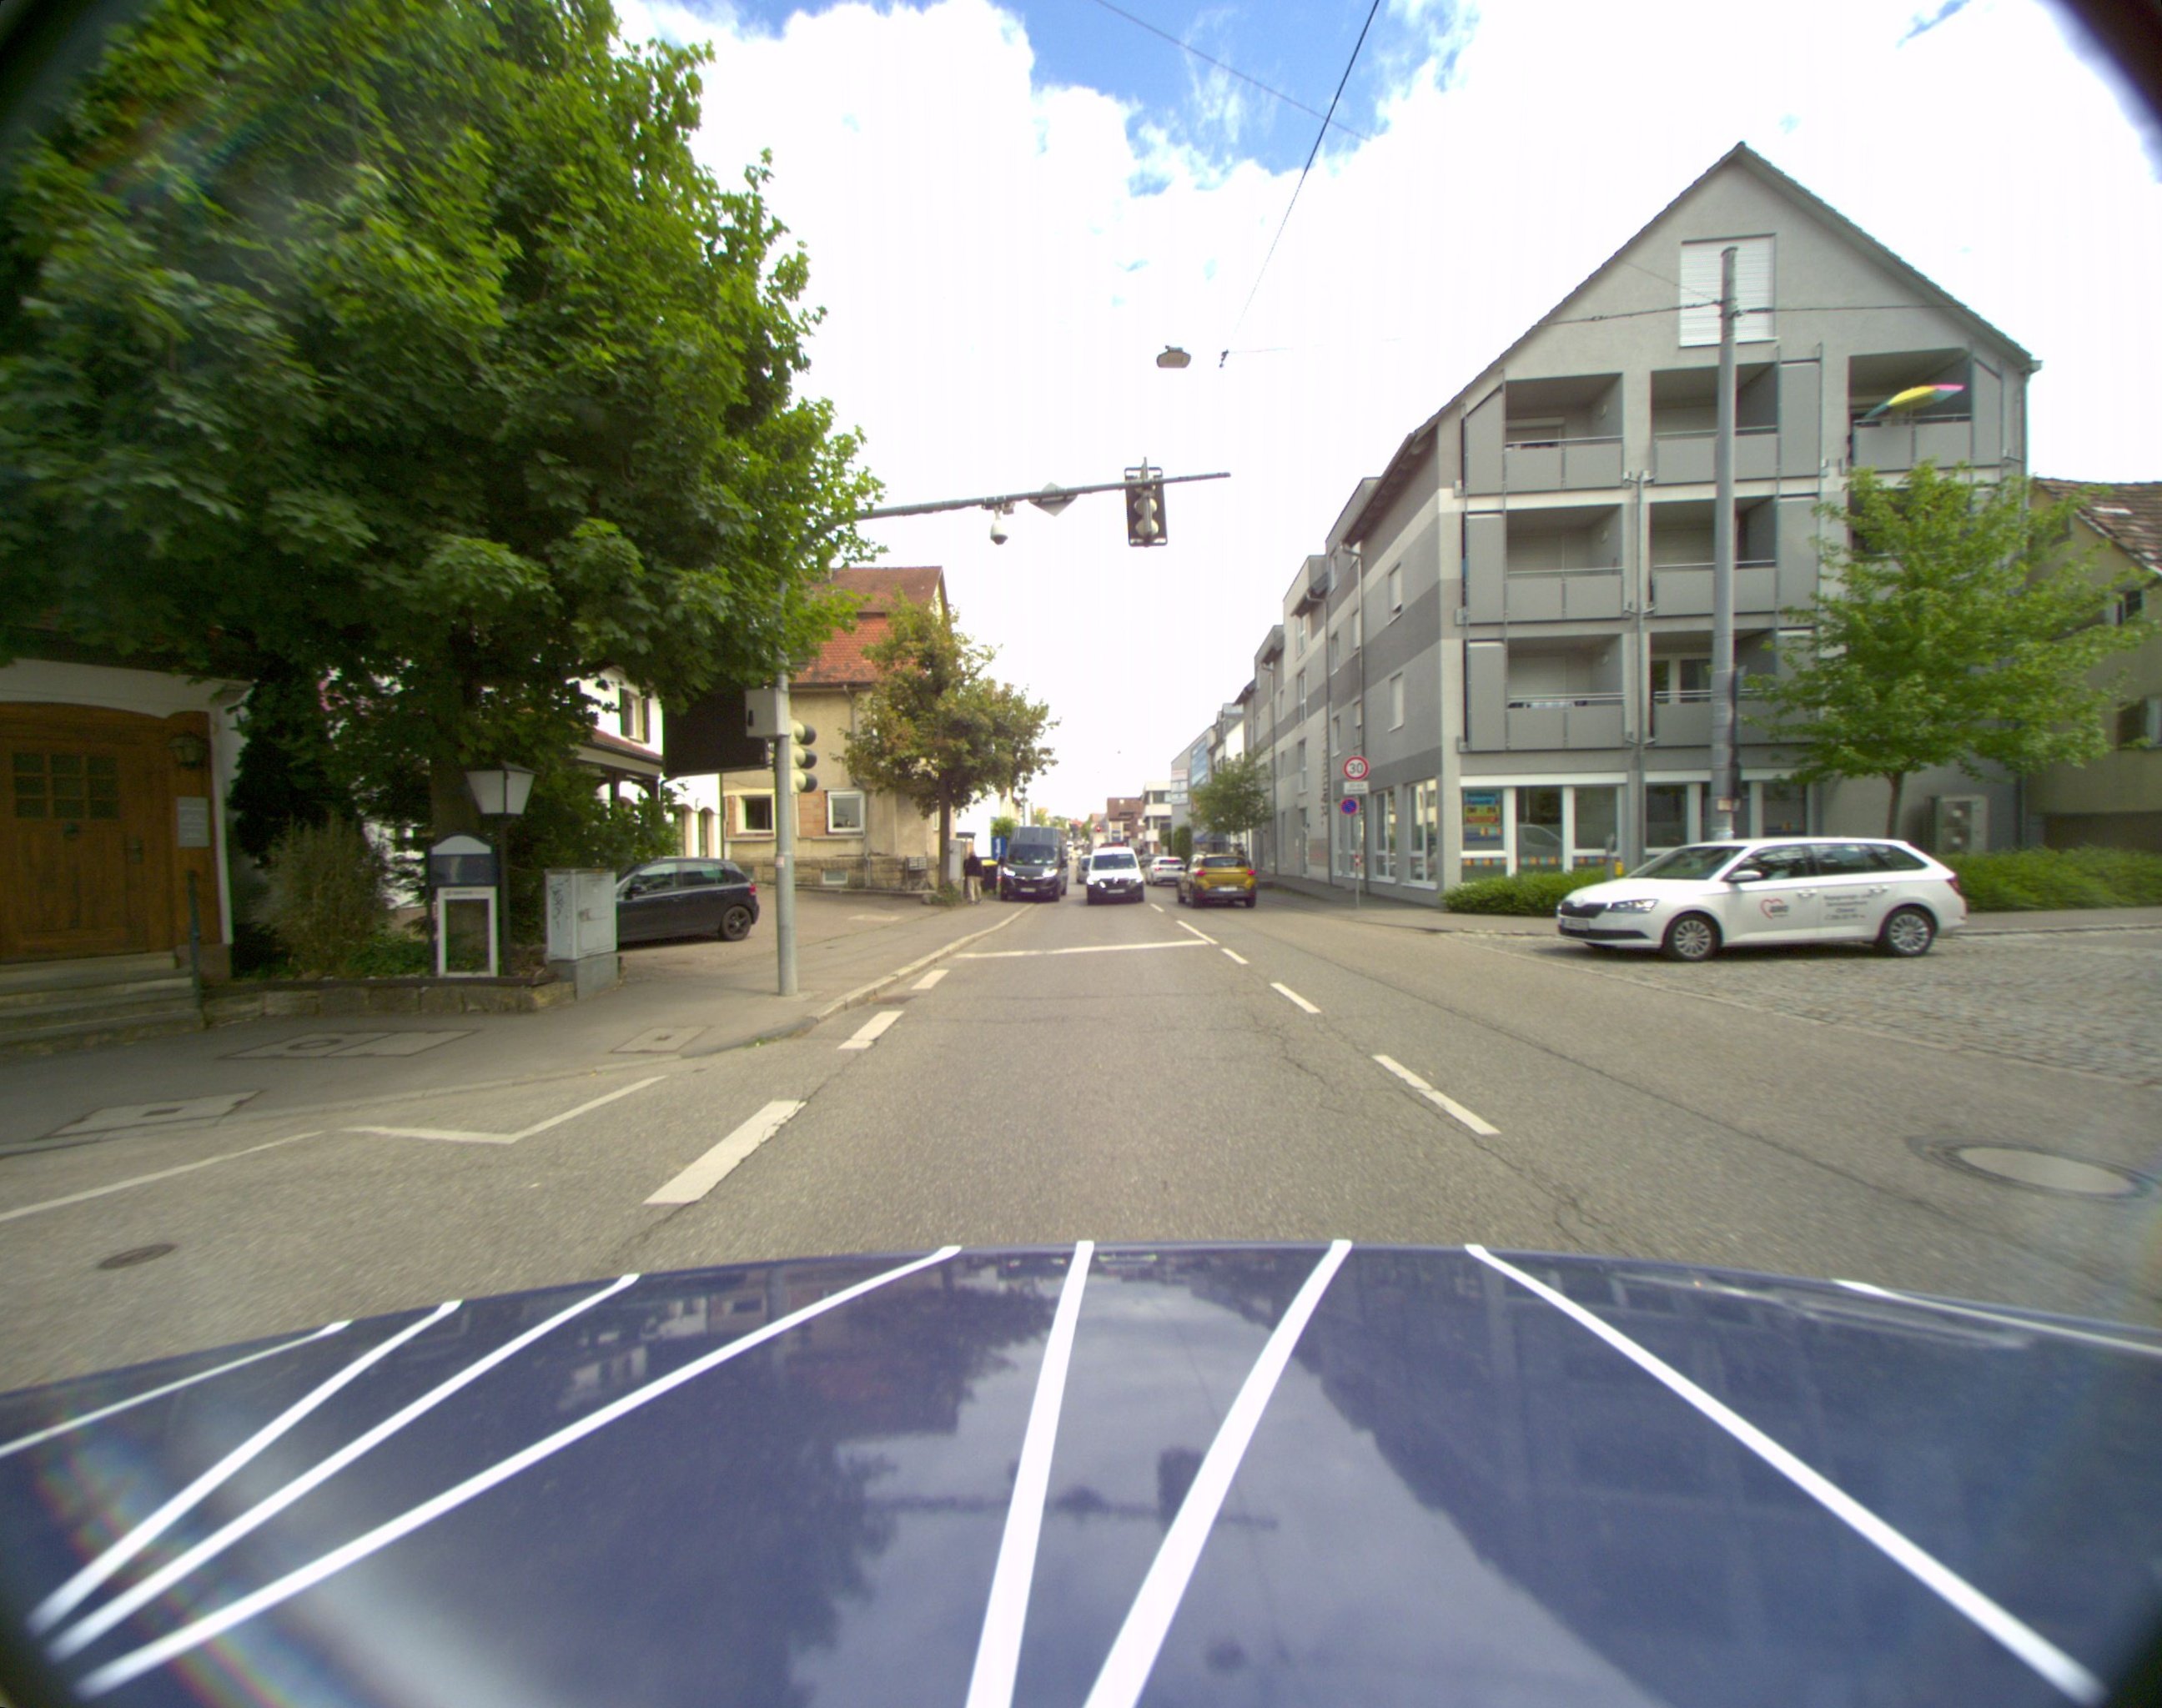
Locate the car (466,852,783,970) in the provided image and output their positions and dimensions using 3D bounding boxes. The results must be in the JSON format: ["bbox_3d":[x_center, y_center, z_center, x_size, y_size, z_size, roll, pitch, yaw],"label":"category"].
[{"bbox_3d":[-7.131,0.783,12.367,1.752,1.508,4.087,3,1,26],"label":"car"}]

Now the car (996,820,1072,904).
[{"bbox_3d":[-1.609,0.244,28.632,2.153,2.754,6.250,-1,0,2],"label":"car"}]

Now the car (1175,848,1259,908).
[{"bbox_3d":[3.863,0.645,22.202,1.732,1.529,4.000,-2,0,0],"label":"car"}]

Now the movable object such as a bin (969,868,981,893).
[{"bbox_3d":[-4.084,1.016,29.339,0.410,0.933,0.273,2,1,-10],"label":"movable object such as a bin"}]

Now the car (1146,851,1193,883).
[{"bbox_3d":[4.346,0.599,37.716,1.879,1.416,4.115,-2,0,1],"label":"car"}]

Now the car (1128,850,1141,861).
[{"bbox_3d":[8.063,0.223,115.414,1.840,1.418,4.219,-2,1,3],"label":"car"}]

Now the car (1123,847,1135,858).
[{"bbox_3d":[8.079,-0.307,127.220,1.701,1.766,4.462,-1,1,6],"label":"car"}]

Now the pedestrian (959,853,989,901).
[{"bbox_3d":[-3.705,0.793,26.375,0.786,1.633,0.798,-1,1,6],"label":"pedestrian"}]

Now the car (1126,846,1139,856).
[{"bbox_3d":[8.307,-0.439,122.194,1.808,1.521,4.001,-1,1,6],"label":"car"}]

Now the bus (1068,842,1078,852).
[{"bbox_3d":[-2.965,-2.351,263.694,3.134,3.239,9.747,-2,1,-2],"label":"bus"}]

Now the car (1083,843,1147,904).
[{"bbox_3d":[1.116,0.580,25.597,1.870,1.805,5.007,-2,0,2],"label":"car"}]

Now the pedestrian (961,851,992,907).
[{"bbox_3d":[-3.381,0.790,24.645,0.742,1.772,0.900,-1,1,6],"label":"pedestrian"}]

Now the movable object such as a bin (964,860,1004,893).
[{"bbox_3d":[-3.876,0.880,30.442,1.188,1.258,1.207,-2,1,-30],"label":"movable object such as a bin"}]
